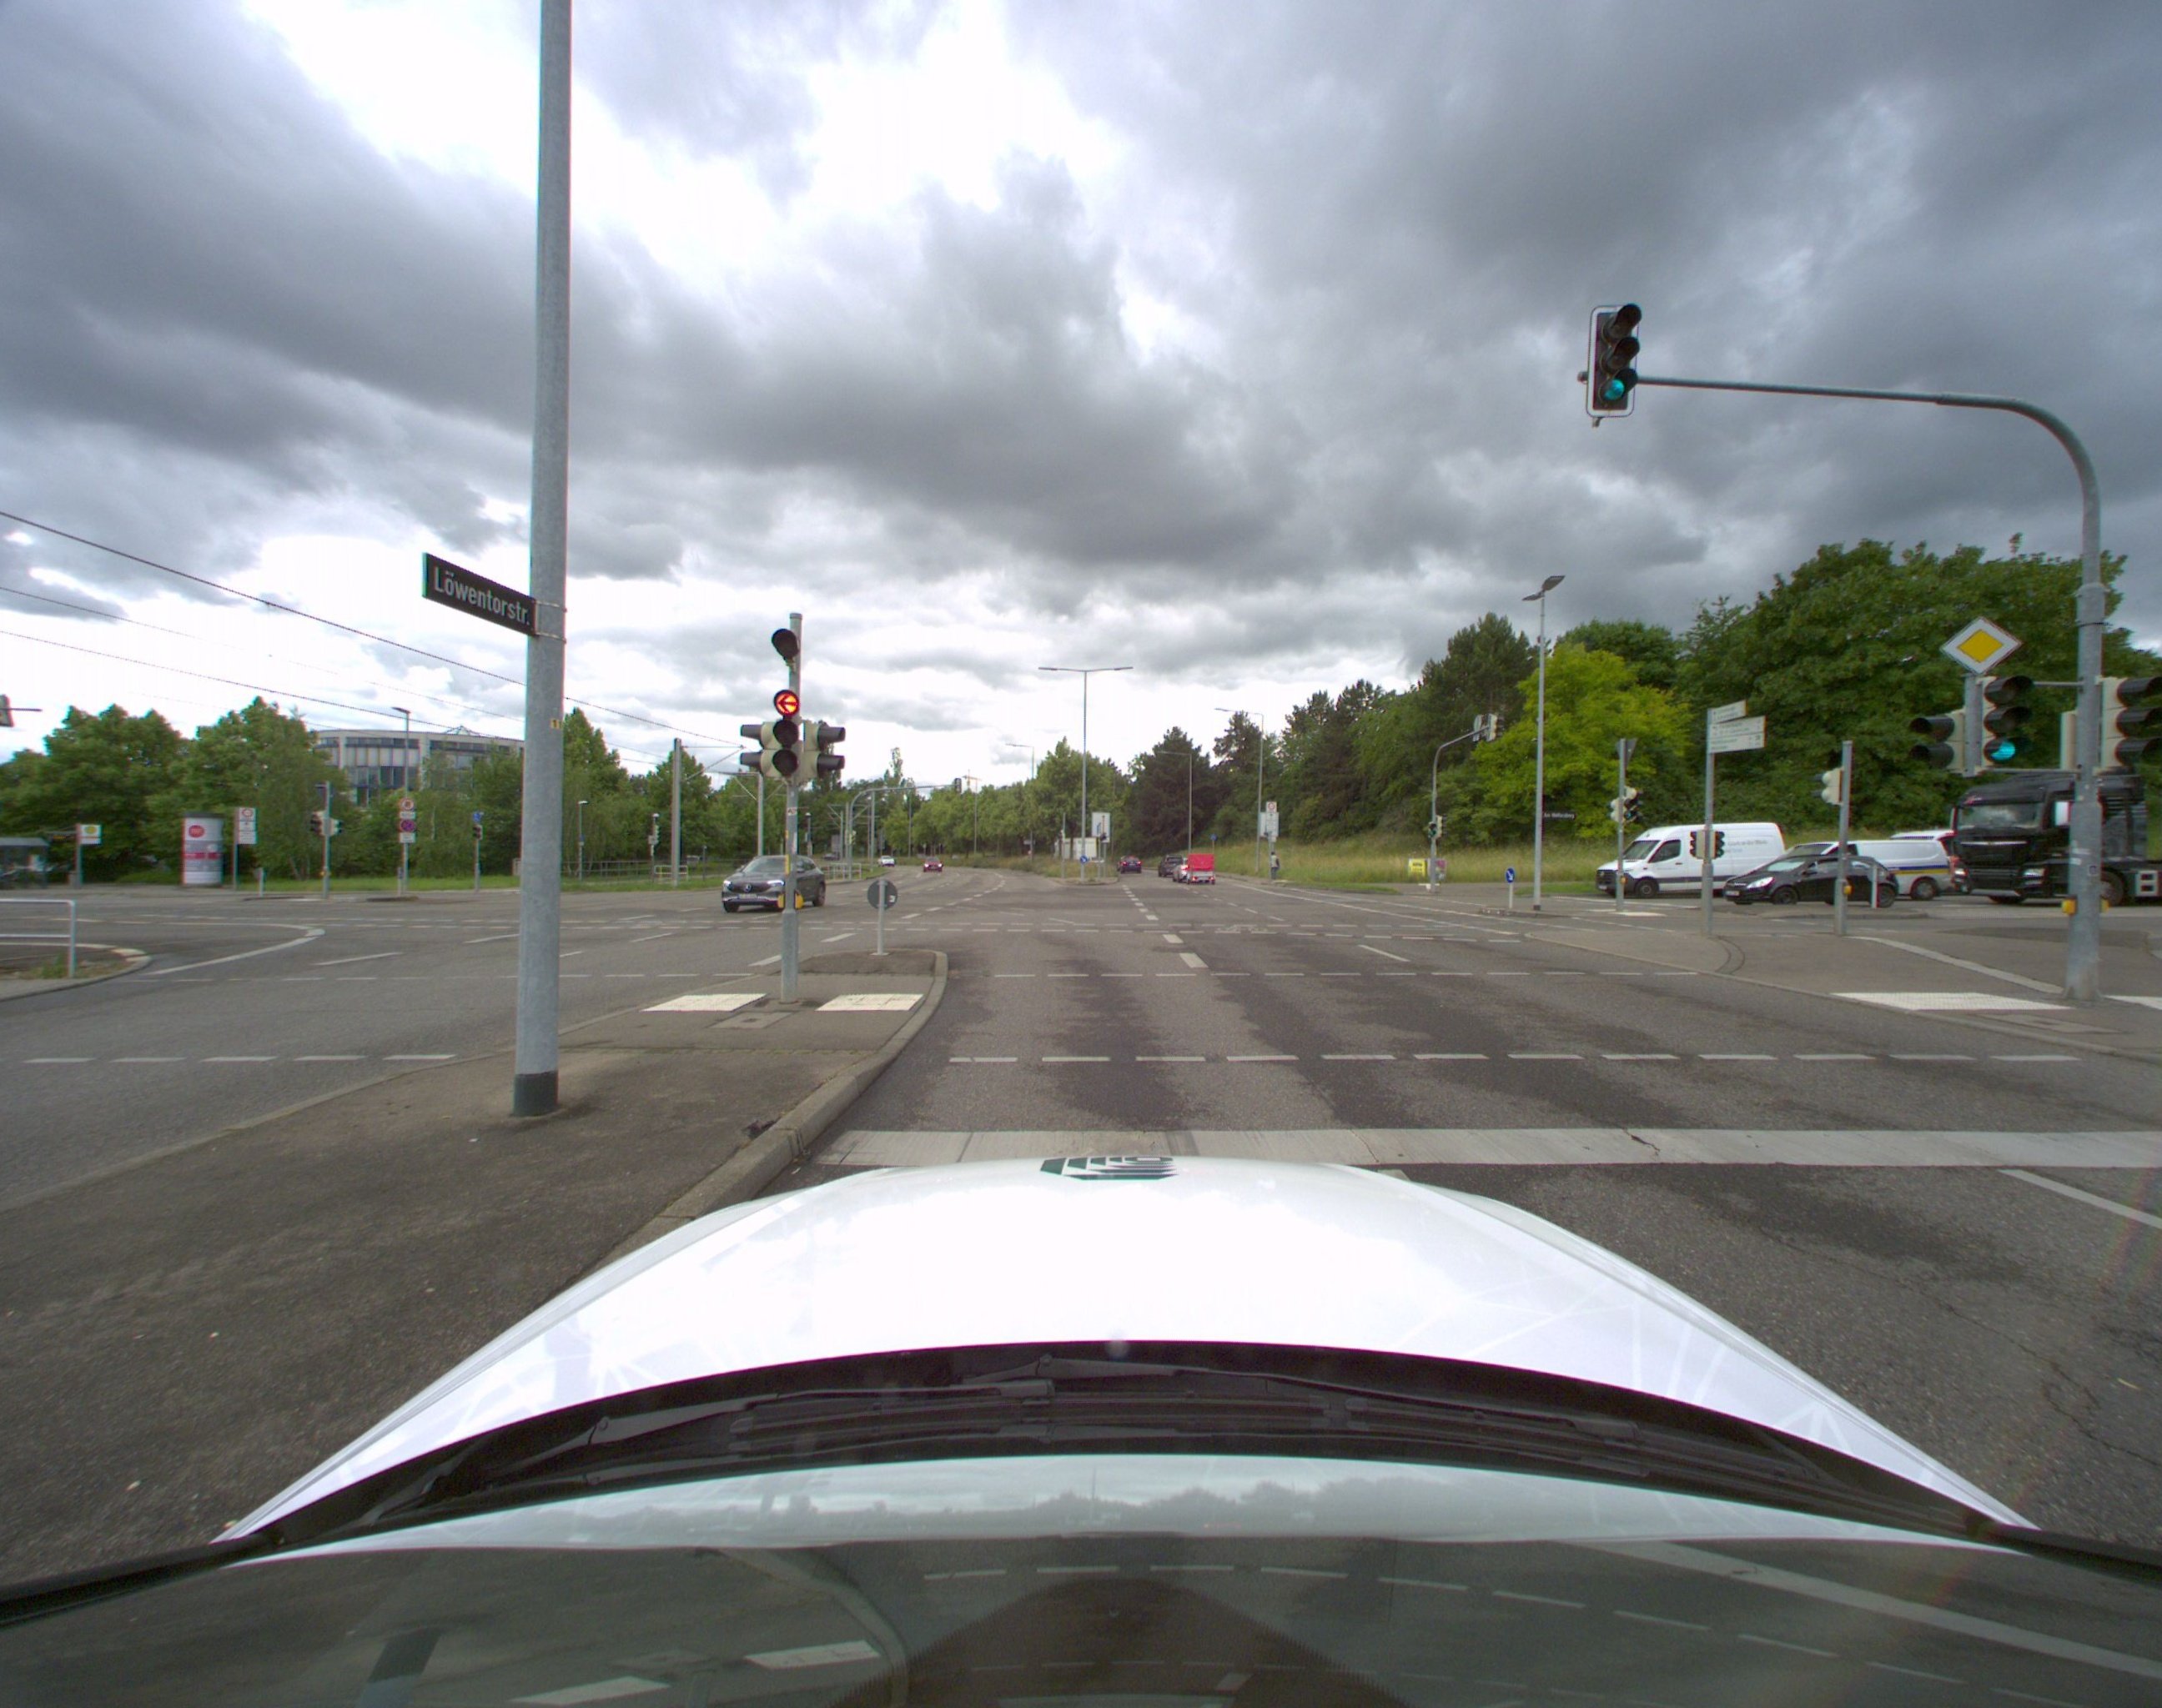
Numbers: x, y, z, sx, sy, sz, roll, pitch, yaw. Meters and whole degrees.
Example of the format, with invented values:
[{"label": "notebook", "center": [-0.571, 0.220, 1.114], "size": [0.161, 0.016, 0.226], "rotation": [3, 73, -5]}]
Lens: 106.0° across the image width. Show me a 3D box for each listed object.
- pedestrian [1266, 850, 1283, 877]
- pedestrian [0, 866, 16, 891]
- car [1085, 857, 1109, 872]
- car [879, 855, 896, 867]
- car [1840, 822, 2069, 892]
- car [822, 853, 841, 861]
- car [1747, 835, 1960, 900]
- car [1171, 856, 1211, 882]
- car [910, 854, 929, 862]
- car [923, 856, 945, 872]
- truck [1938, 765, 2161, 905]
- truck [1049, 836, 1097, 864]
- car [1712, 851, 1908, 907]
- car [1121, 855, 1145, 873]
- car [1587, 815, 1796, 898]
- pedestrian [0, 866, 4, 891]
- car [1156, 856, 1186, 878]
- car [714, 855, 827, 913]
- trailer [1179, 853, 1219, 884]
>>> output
[{"label": "pedestrian", "center": [11.518, 0.566, 48.411], "size": [0.811, 1.627, 0.791], "rotation": [0, 0, 1]}, {"label": "pedestrian", "center": [-56.483, 1.284, 42.621], "size": [0.774, 1.304, 0.666], "rotation": [0, 0, 15]}, {"label": "car", "center": [1.722, 1.139, 89.471], "size": [1.779, 1.546, 4.008], "rotation": [-1, 0, -12]}, {"label": "car", "center": [-28.149, 1.009, 118.289], "size": [1.836, 1.629, 4.394], "rotation": [-1, 0, -21]}, {"label": "car", "center": [30.686, 0.107, 28.769], "size": [5.677, 2.289, 2.136], "rotation": [-1, 0, 2]}, {"label": "car", "center": [-51.653, 0.666, 168.388], "size": [3.973, 1.546, 1.795], "rotation": [0, 0, 38]}, {"label": "car", "center": [24.535, 0.407, 26.014], "size": [4.836, 1.896, 2.034], "rotation": [-1, 0, 1]}, {"label": "car", "center": [6.364, 0.835, 47.536], "size": [1.772, 1.421, 4.459], "rotation": [0, 0, 1]}, {"label": "car", "center": [-29.827, 0.761, 150.527], "size": [1.793, 1.546, 3.977], "rotation": [-1, 0, -41]}, {"label": "car", "center": [-14.307, 0.944, 79.007], "size": [1.783, 1.443, 4.405], "rotation": [-1, 0, -14]}, {"label": "truck", "center": [27.939, -0.517, 22.275], "size": [6.027, 3.538, 2.729], "rotation": [-1, 0, 2]}, {"label": "truck", "center": [-1.142, -0.481, 102.456], "size": [2.747, 3.328, 11.336], "rotation": [0, 0, -18]}, {"label": "car", "center": [20.284, 0.667, 22.777], "size": [3.905, 1.436, 1.732], "rotation": [-1, 0, 1]}, {"label": "car", "center": [4.735, 0.901, 74.751], "size": [1.774, 1.546, 4.021], "rotation": [0, 0, -3]}, {"label": "car", "center": [21.901, 0.093, 29.414], "size": [5.870, 2.781, 2.136], "rotation": [-1, 0, 2]}, {"label": "pedestrian", "center": [-57.780, 1.297, 43.118], "size": [0.774, 1.303, 0.666], "rotation": [0, 0, 15]}, {"label": "car", "center": [6.625, 0.911, 60.253], "size": [1.772, 1.546, 4.025], "rotation": [0, 0, 1]}, {"label": "car", "center": [-9.021, 0.808, 24.043], "size": [1.773, 1.546, 4.222], "rotation": [0, 0, -1]}, {"label": "trailer", "center": [6.321, 0.742, 43.792], "size": [1.759, 1.616, 3.044], "rotation": [0, 0, 0]}]
